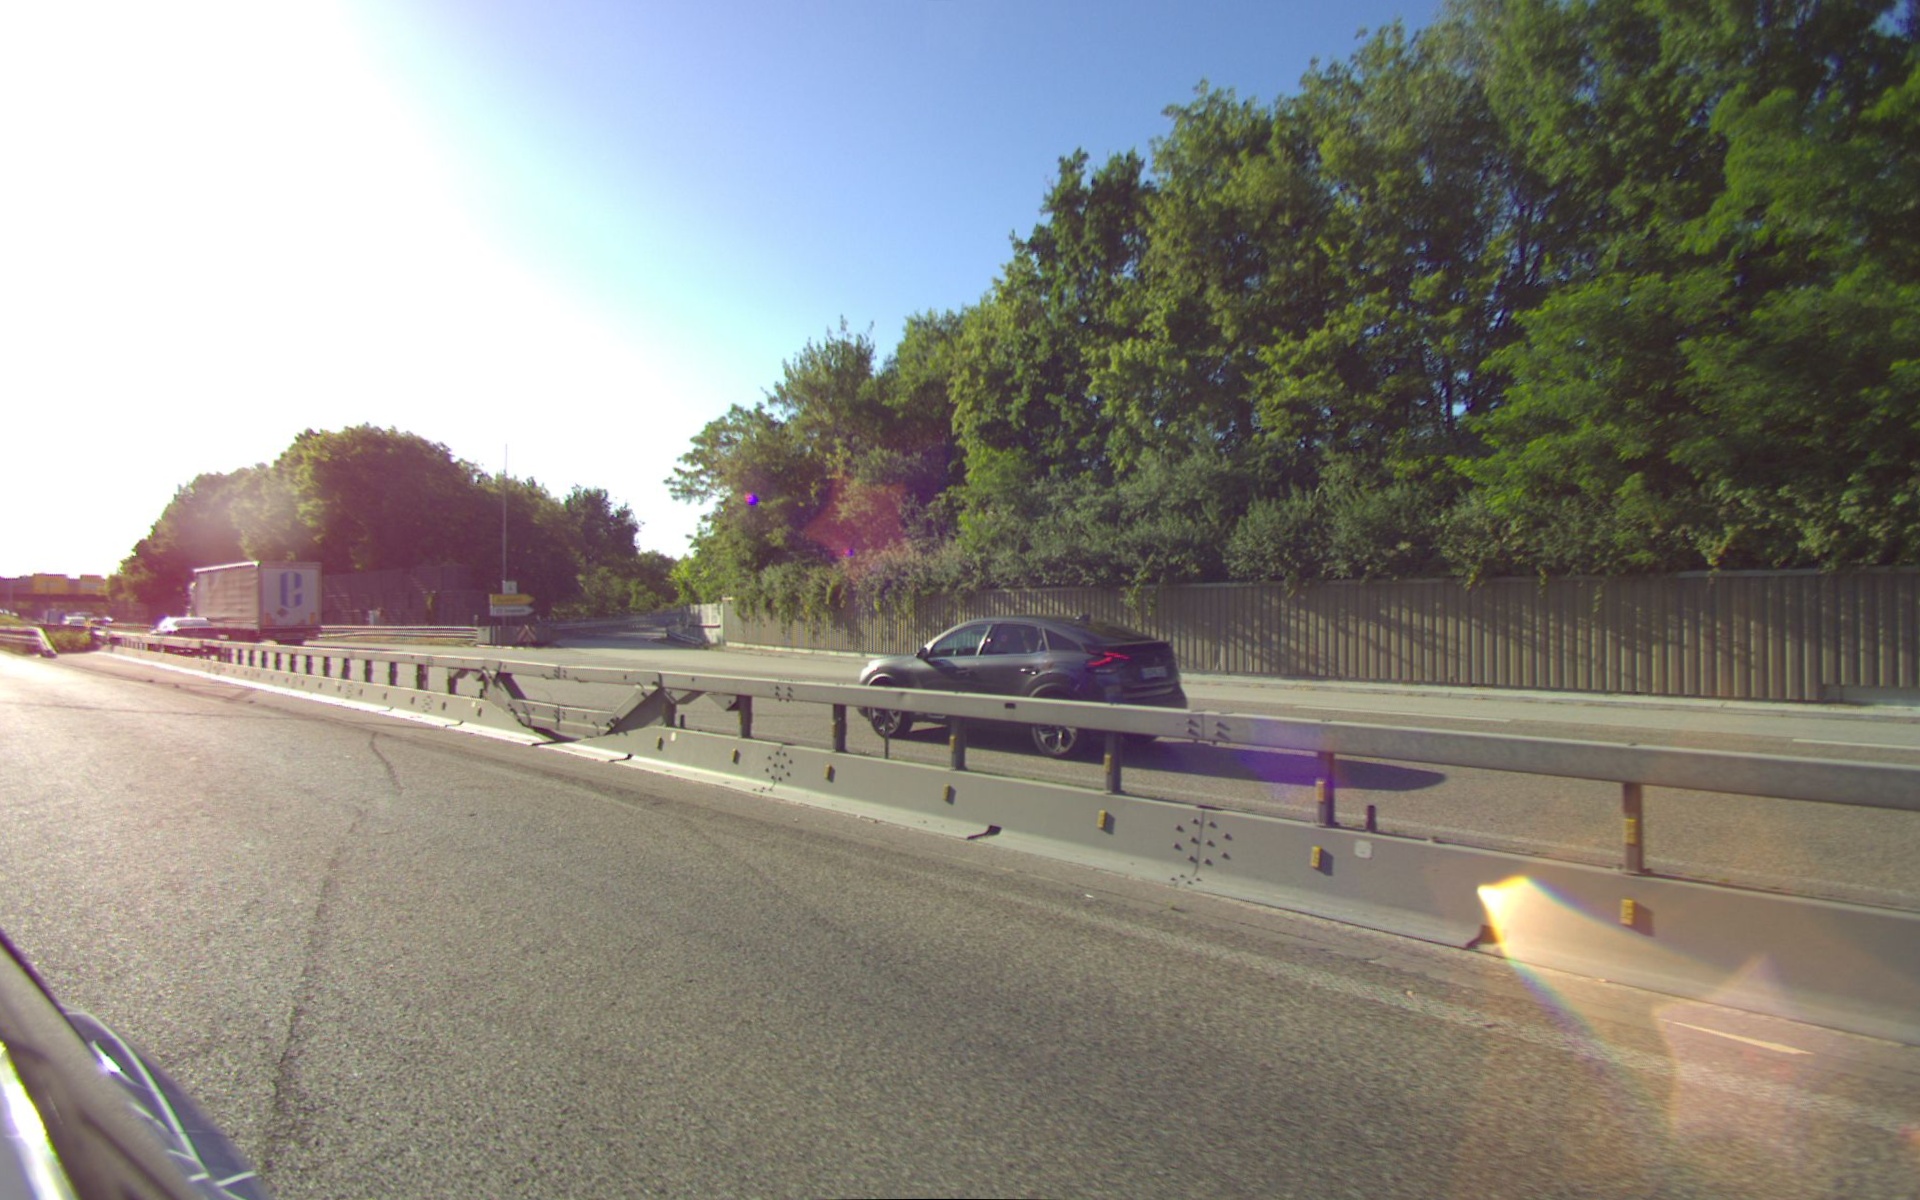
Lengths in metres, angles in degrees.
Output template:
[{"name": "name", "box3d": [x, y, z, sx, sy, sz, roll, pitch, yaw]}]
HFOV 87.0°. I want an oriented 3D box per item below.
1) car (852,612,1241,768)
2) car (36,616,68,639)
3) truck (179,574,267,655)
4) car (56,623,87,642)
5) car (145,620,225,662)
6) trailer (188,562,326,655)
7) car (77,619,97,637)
[{"name": "car", "box3d": [0.892, 0.949, 11.903, 4.197, 1.497, 1.973, -3, -2, 41]}, {"name": "car", "box3d": [-107.556, 3.256, 119.833, 6.049, 2.631, 2.125, -3, -1, 41]}, {"name": "truck", "box3d": [-41.215, 0.840, 56.551, 6.386, 4.294, 2.706, -3, -1, 42]}, {"name": "car", "box3d": [-87.963, 3.216, 100.146, 1.971, 1.796, 4.787, -1, -1, -45]}, {"name": "car", "box3d": [-33.523, 1.764, 43.730, 4.938, 1.670, 1.972, -3, -1, 43]}, {"name": "trailer", "box3d": [-36.527, 0.607, 52.215, 14.082, 4.312, 2.718, -3, -1, 42]}, {"name": "car", "box3d": [-120.890, 3.901, 140.186, 2.051, 2.298, 5.382, -1, -1, -41]}]
